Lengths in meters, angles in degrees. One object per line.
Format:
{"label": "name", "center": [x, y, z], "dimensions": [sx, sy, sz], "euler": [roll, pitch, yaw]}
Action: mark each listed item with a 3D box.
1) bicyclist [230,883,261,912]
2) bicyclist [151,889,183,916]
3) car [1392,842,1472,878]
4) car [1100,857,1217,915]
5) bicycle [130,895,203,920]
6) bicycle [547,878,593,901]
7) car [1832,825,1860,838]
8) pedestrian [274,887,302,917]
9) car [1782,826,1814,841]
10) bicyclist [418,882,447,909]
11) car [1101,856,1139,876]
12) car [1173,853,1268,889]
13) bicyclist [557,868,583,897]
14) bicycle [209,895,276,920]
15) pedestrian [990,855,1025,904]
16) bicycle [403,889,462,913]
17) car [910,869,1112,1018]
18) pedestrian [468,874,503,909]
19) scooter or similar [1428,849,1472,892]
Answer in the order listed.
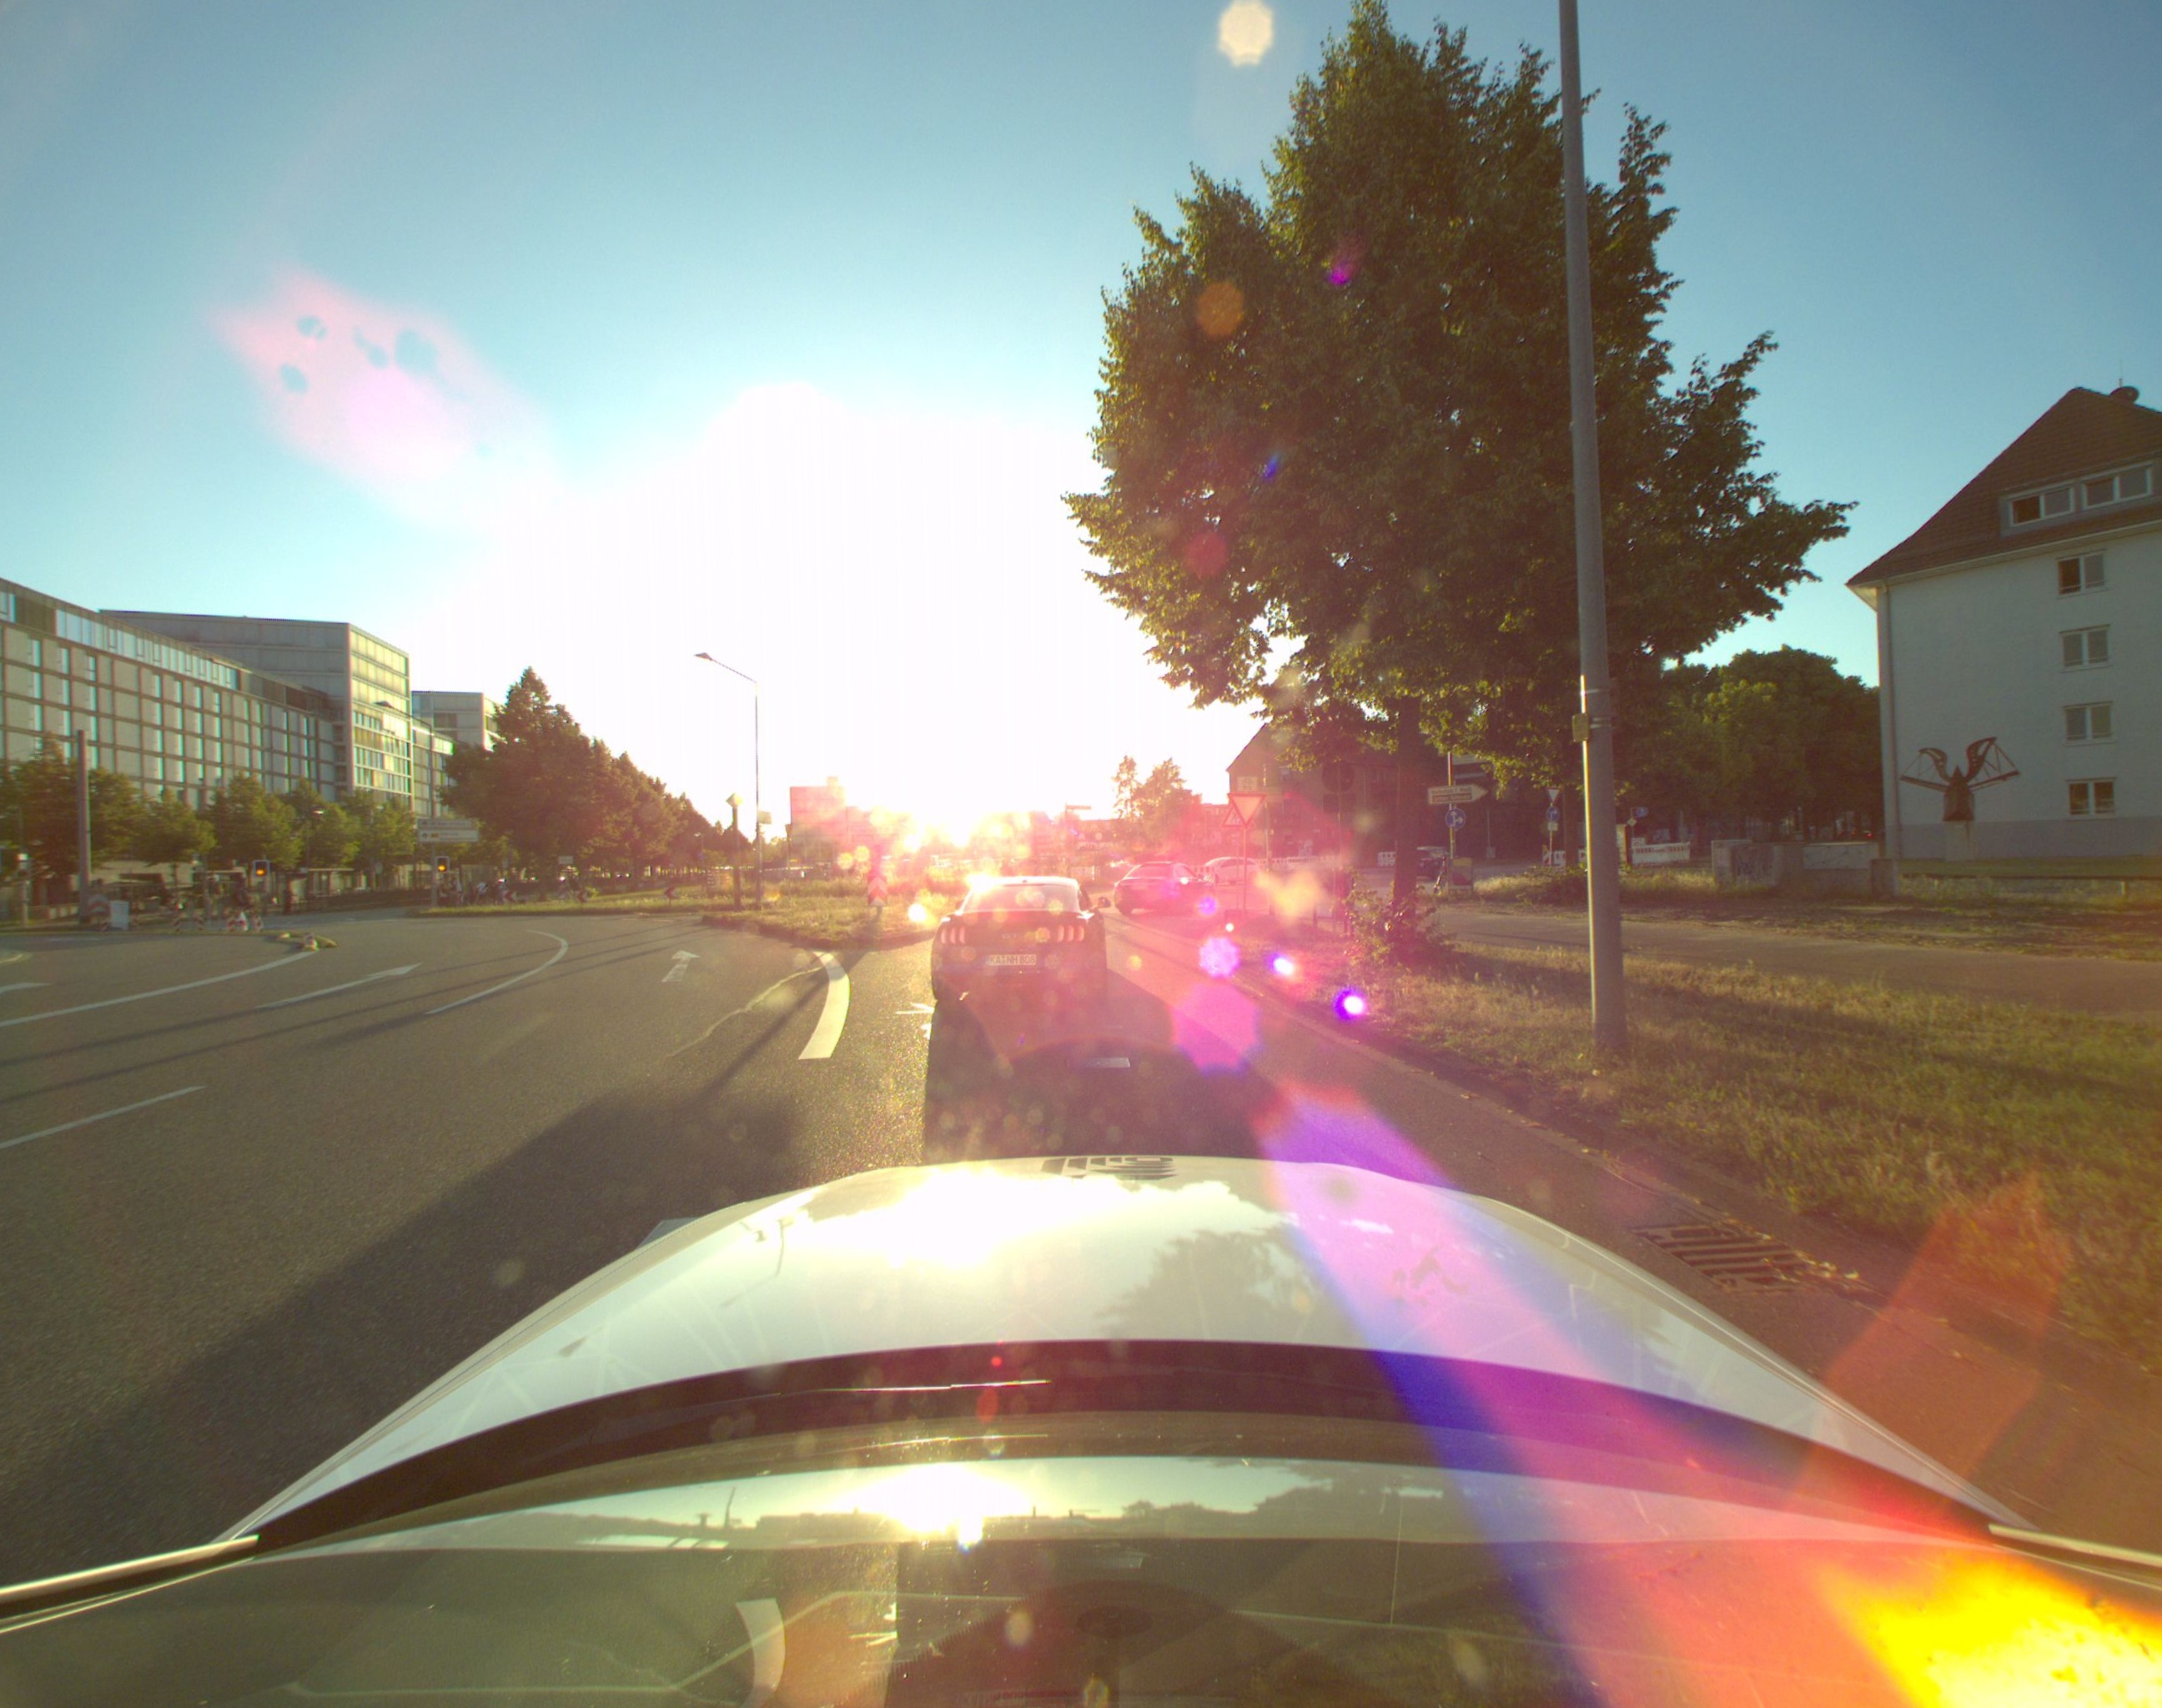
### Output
{"label": "bicyclist", "center": [-45.466, 2.351, 44.312], "dimensions": [0.982, 1.525, 0.747], "euler": [-2, -1, -31]}
{"label": "bicyclist", "center": [-48.274, 2.556, 43.005], "dimensions": [0.881, 1.392, 0.748], "euler": [-2, -1, -28]}
{"label": "car", "center": [17.532, 0.279, 40.630], "dimensions": [4.097, 1.602, 1.935], "euler": [-3, 1, -38]}
{"label": "car", "center": [2.354, 0.873, 23.651], "dimensions": [1.933, 1.427, 4.455], "euler": [-2, 0, 25]}
{"label": "bicycle", "center": [-48.239, 2.814, 42.990], "dimensions": [2.415, 1.167, 0.748], "euler": [-2, 0, -28]}
{"label": "bicycle", "center": [-28.663, 2.002, 45.682], "dimensions": [2.383, 1.167, 0.758], "euler": [-2, 0, 17]}
{"label": "car", "center": [97.562, -2.890, 103.809], "dimensions": [4.096, 1.602, 1.935], "euler": [-1, 0, -37]}
{"label": "pedestrian", "center": [-45.997, 2.769, 47.240], "dimensions": [0.890, 1.707, 0.788], "euler": [-2, -1, -25]}
{"label": "car", "center": [78.038, -2.216, 88.637], "dimensions": [4.098, 1.602, 1.935], "euler": [-1, 0, -40]}
{"label": "bicyclist", "center": [-35.819, 2.286, 44.994], "dimensions": [0.977, 1.394, 0.750], "euler": [-2, 0, -17]}
{"label": "car", "center": [3.517, 1.113, 73.451], "dimensions": [2.001, 1.706, 3.972], "euler": [-2, 0, -20]}
{"label": "car", "center": [7.354, 0.848, 42.715], "dimensions": [4.673, 1.452, 2.055], "euler": [-5, 3, -31]}
{"label": "bicyclist", "center": [-28.664, 1.594, 45.665], "dimensions": [0.967, 1.612, 0.758], "euler": [-2, -1, 17]}
{"label": "bicycle", "center": [-45.512, 2.894, 44.235], "dimensions": [2.417, 1.167, 0.747], "euler": [-2, 0, -31]}
{"label": "pedestrian", "center": [-2.636, 0.907, 29.190], "dimensions": [0.850, 1.686, 0.877], "euler": [-2, 0, -36]}
{"label": "bicycle", "center": [-35.823, 2.574, 45.010], "dimensions": [2.407, 1.167, 0.750], "euler": [-2, 0, -17]}
{"label": "car", "center": [-0.637, 0.918, 10.290], "dimensions": [1.944, 1.342, 4.671], "euler": [-1, 0, 1]}
{"label": "pedestrian", "center": [-33.087, 2.064, 45.237], "dimensions": [1.153, 1.827, 0.980], "euler": [-2, 0, 3]}
{"label": "scooter or similar", "center": [11.217, 0.497, 24.760], "dimensions": [1.116, 1.238, 0.442], "euler": [-2, 0, 0]}
